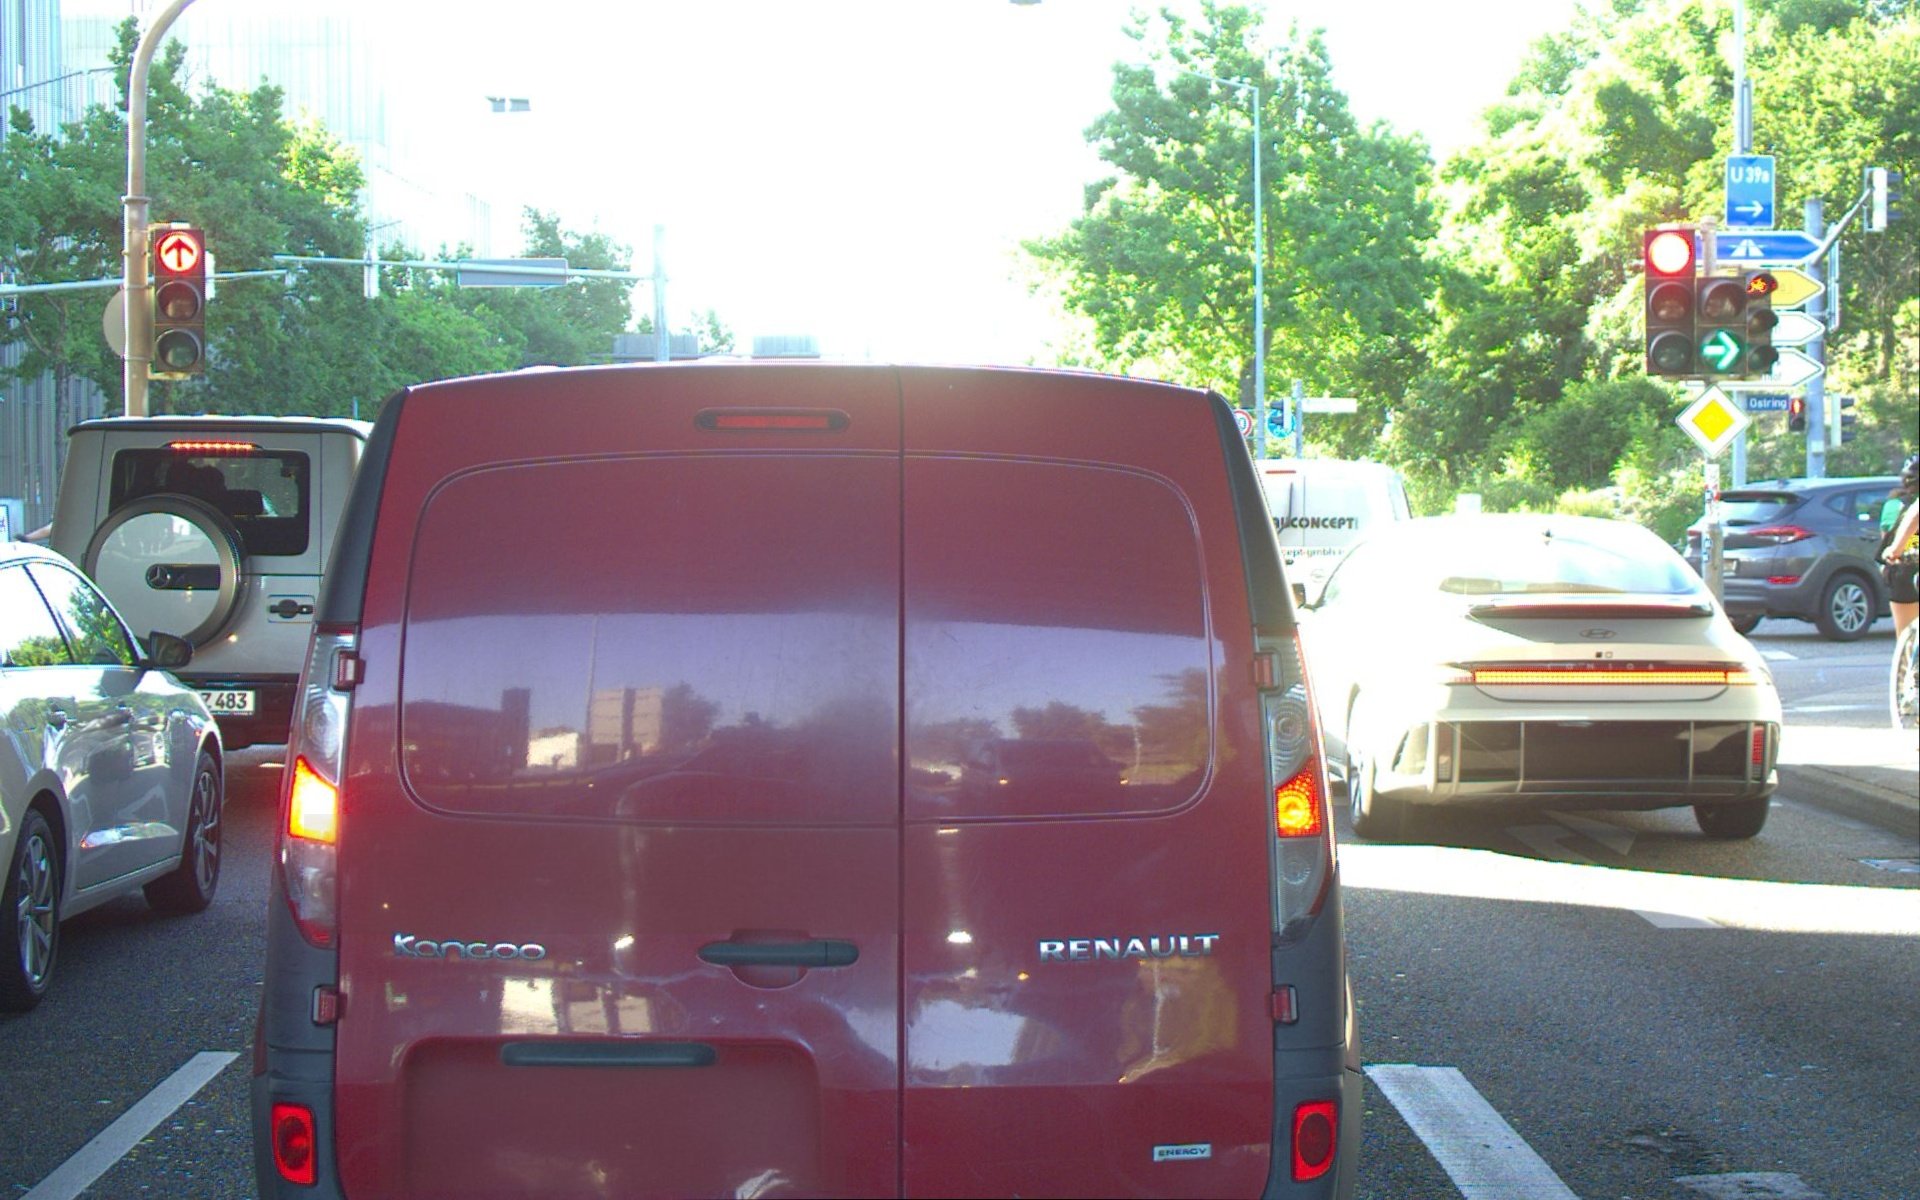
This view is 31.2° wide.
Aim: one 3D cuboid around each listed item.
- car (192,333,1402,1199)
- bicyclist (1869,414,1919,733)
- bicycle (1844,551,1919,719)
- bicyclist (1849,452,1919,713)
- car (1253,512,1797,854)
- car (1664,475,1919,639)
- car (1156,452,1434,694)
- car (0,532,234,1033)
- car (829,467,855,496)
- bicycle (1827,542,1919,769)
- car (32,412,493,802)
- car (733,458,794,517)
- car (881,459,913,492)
[{"bbox_3d":[-0.260,0.468,6.934,1.719,1.758,4.000,1,1,-1],"label":"car"},{"bbox_3d":[5.340,-0.138,18.233,0.746,1.650,0.886,1,1,-1],"label":"bicyclist"},{"bbox_3d":[6.012,0.209,21.760,0.677,1.020,1.528,1,1,10],"label":"bicycle"},{"bbox_3d":[6.011,-0.109,21.735,0.677,1.623,0.644,1,0,10],"label":"bicyclist"},{"bbox_3d":[2.632,0.310,17.121,1.745,1.451,4.665,1,1,-2],"label":"car"},{"bbox_3d":[9.517,-0.464,35.808,4.094,1.617,1.811,-1,1,-30],"label":"car"},{"bbox_3d":[2.851,-0.278,28.462,1.814,1.827,4.298,1,2,12],"label":"car"},{"bbox_3d":[-3.618,0.477,11.469,1.692,1.405,3.814,1,1,-2],"label":"car"},{"bbox_3d":[-8.630,-8.707,251.992,1.748,2.007,3.845,1,1,-1],"label":"car"},{"bbox_3d":[5.351,0.283,18.286,0.765,1.142,2.470,-2,2,-1],"label":"bicycle"},{"bbox_3d":[-3.688,-0.003,18.801,1.813,1.897,3.814,1,1,-1],"label":"car"},{"bbox_3d":[-7.159,-4.100,125.694,1.993,2.007,4.000,1,1,-1],"label":"car"},{"bbox_3d":[-4.039,-7.995,220.593,1.993,2.007,4.000,1,1,-1],"label":"car"}]
